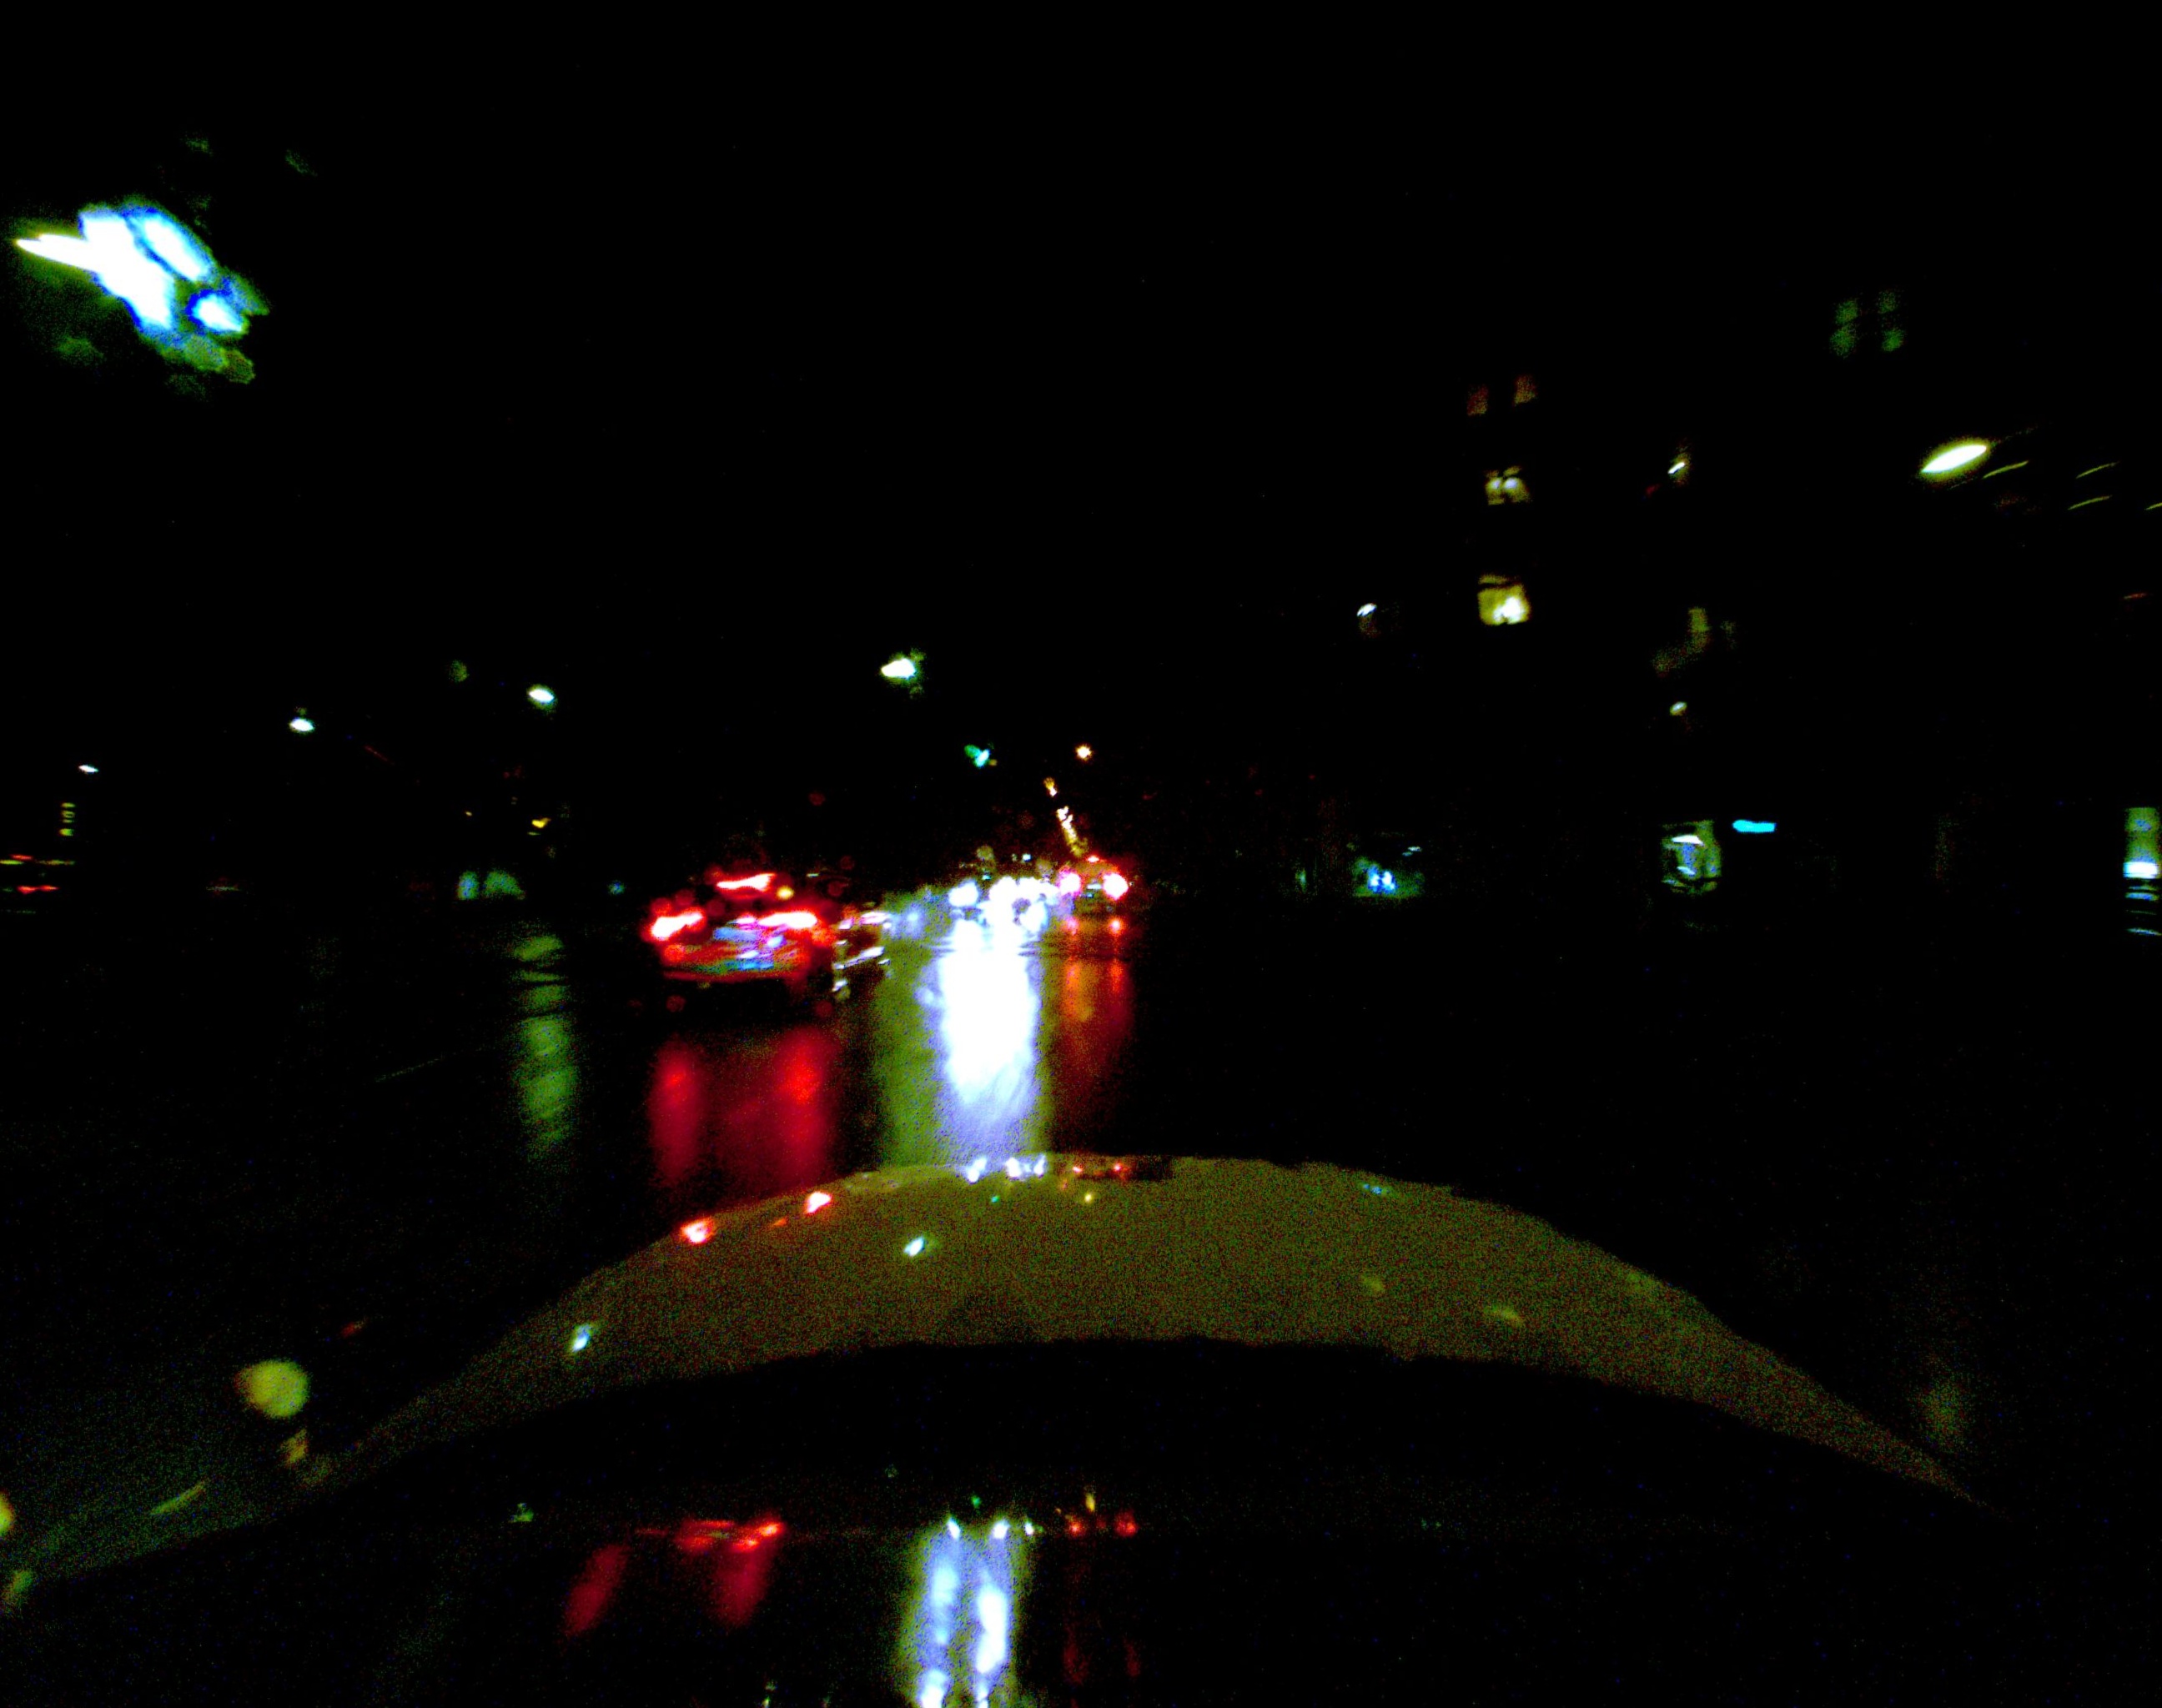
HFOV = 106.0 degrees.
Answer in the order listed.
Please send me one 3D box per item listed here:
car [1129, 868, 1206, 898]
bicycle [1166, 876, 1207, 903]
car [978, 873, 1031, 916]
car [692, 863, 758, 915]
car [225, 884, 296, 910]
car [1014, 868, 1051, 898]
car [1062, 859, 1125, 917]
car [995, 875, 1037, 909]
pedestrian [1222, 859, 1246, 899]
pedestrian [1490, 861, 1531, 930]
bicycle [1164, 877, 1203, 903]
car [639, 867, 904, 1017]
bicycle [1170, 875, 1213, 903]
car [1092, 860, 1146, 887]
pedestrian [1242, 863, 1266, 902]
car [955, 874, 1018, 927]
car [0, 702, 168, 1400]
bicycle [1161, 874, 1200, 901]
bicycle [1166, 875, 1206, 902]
[{"bbox_3d":[4.912,1.622,45.887,4.206,1.457,1.836,-2,-1,-38],"label":"car"},{"bbox_3d":[5.301,1.768,40.846,1.893,1.252,0.595,-3,-2,-5],"label":"bicycle"},{"bbox_3d":[-2.966,1.540,32.290,1.663,1.562,4.007,-1,-1,0],"label":"car"},{"bbox_3d":[-13.424,1.260,30.920,1.897,1.780,4.306,-1,-1,-18],"label":"car"},{"bbox_3d":[-61.551,3.213,61.102,4.283,1.780,2.098,-1,-1,20],"label":"car"},{"bbox_3d":[-2.647,1.582,45.107,1.782,1.554,4.852,-1,-1,-1],"label":"car"},{"bbox_3d":[0.456,1.240,30.752,2.161,1.972,4.301,-1,-1,0],"label":"car"},{"bbox_3d":[-2.974,1.732,38.042,1.663,1.421,4.095,-1,-1,-1],"label":"car"},{"bbox_3d":[7.416,1.199,39.443,0.954,1.882,1.000,-1,-1,0],"label":"pedestrian"},{"bbox_3d":[13.064,1.249,24.779,0.965,2.013,1.021,-2,2,22],"label":"pedestrian"},{"bbox_3d":[5.285,1.840,42.132,1.893,1.252,0.595,-3,-2,-5],"label":"bicycle"},{"bbox_3d":[-3.749,0.961,10.890,1.813,1.542,4.723,-1,-1,-1],"label":"car"},{"bbox_3d":[5.411,1.726,39.933,1.893,1.252,0.709,-3,-2,-5],"label":"bicycle"},{"bbox_3d":[3.683,1.875,78.760,5.034,2.391,2.115,-2,-1,-38],"label":"car"},{"bbox_3d":[7.413,1.221,34.906,0.778,1.618,1.000,-1,-1,0],"label":"pedestrian"},{"bbox_3d":[-2.976,1.441,26.405,1.702,1.542,3.985,-1,-1,-2],"label":"car"},{"bbox_3d":[-4.182,0.573,0.122,2.025,1.953,5.204,-1,0,3],"label":"car"},{"bbox_3d":[5.218,1.764,42.904,1.893,1.360,0.595,-3,-2,-5],"label":"bicycle"},{"bbox_3d":[5.326,1.745,41.492,1.893,1.252,0.595,-3,-2,-5],"label":"bicycle"}]
